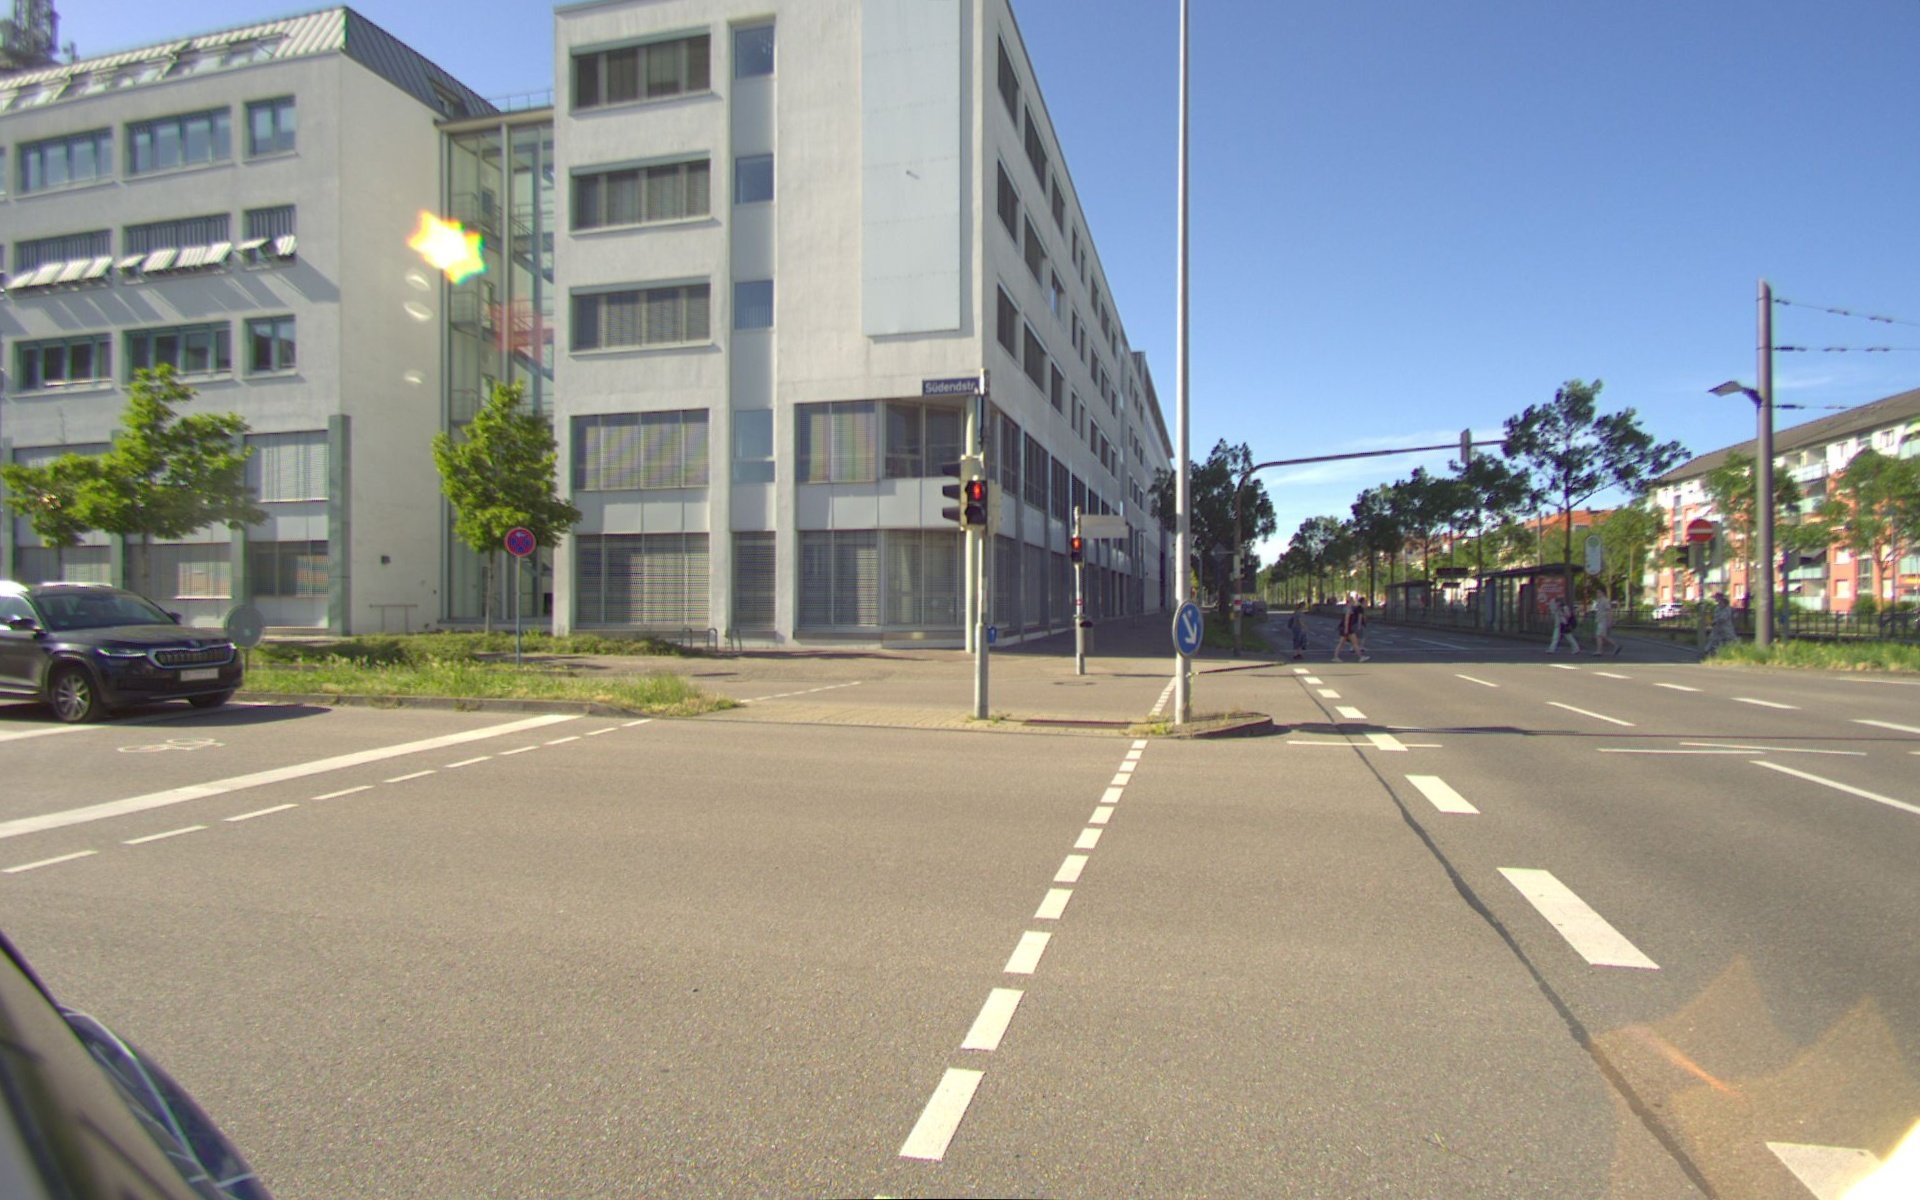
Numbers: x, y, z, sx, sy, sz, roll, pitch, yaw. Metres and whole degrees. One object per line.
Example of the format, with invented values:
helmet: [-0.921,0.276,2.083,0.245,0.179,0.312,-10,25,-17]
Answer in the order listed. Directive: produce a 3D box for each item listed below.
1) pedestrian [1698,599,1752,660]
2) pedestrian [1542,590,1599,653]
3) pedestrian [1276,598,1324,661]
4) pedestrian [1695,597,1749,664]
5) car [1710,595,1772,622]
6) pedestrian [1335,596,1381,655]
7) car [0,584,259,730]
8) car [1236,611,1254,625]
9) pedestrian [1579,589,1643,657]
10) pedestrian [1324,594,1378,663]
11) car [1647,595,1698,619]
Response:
pedestrian: [19.818,0.763,26.237,0.849,1.545,0.724,0,-1,10]
pedestrian: [17.194,0.606,28.521,1.142,1.739,0.810,0,-1,10]
pedestrian: [9.444,0.811,28.177,1.142,1.739,0.810,0,-1,10]
pedestrian: [20.501,0.805,27.232,1.135,1.739,0.815,0,-1,-33]
car: [55.822,0.632,72.408,1.980,1.863,3.983,0,-1,13]
pedestrian: [11.930,0.763,30.372,1.142,1.739,0.810,0,-1,10]
car: [-11.595,0.634,13.027,4.435,1.640,1.752,0,2,15]
car: [31.874,1.981,113.346,1.764,1.531,3.983,0,-1,13]
pedestrian: [17.474,0.610,27.186,1.142,1.784,0.921,0,-1,10]
pedestrian: [9.963,0.713,25.822,1.142,1.739,0.810,0,-1,10]
car: [58.138,0.564,82.648,1.980,1.863,3.983,0,-1,13]
